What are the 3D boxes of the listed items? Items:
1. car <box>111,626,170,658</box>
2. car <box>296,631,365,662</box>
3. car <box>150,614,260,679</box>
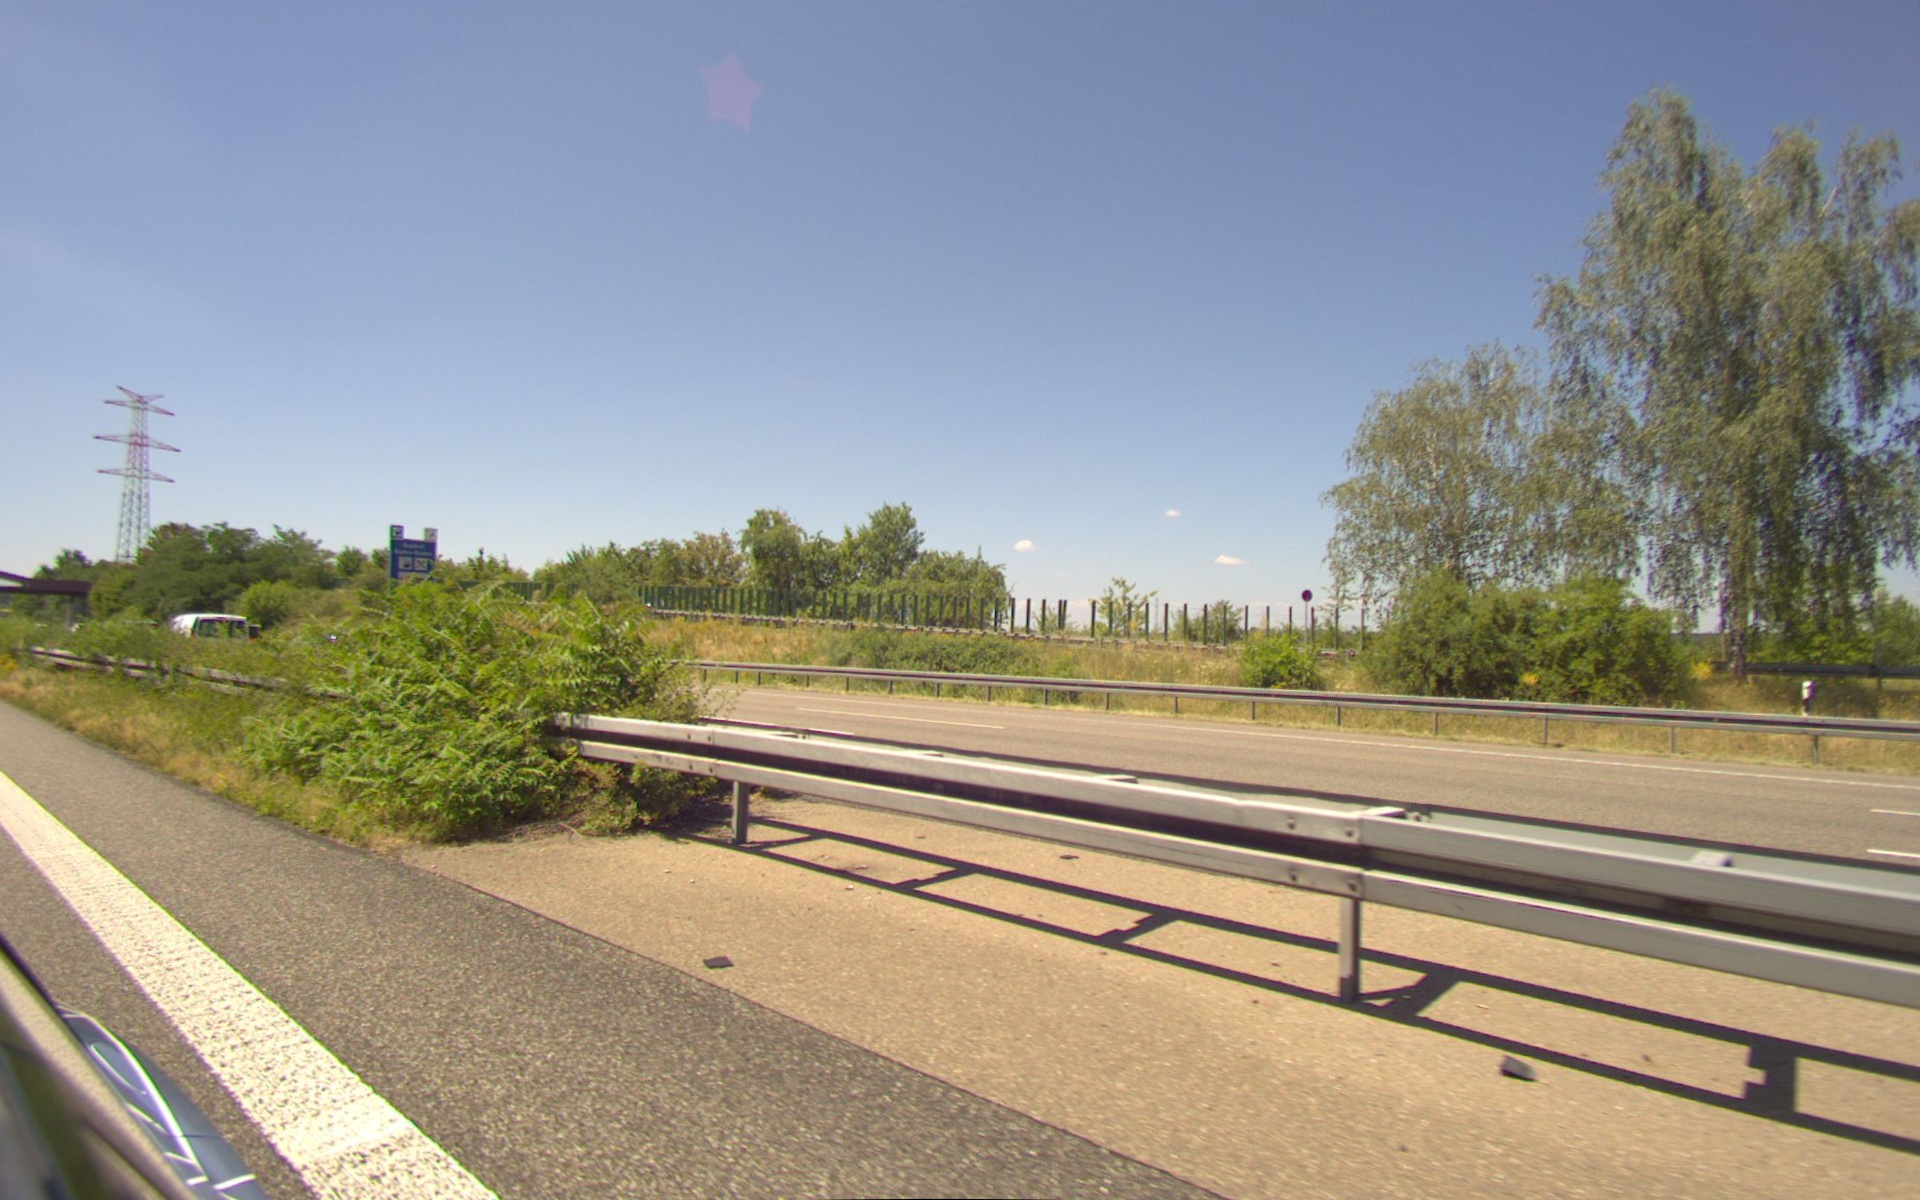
[{"bbox_3d":[-47.870,2.433,59.090,5.014,1.779,1.770,-1,-4,41],"label":"car"},{"bbox_3d":[-31.221,2.302,50.172,4.796,1.461,1.525,-1,-3,41],"label":"car"},{"bbox_3d":[-24.214,1.454,32.398,4.768,1.940,1.744,-1,-3,40],"label":"car"}]
